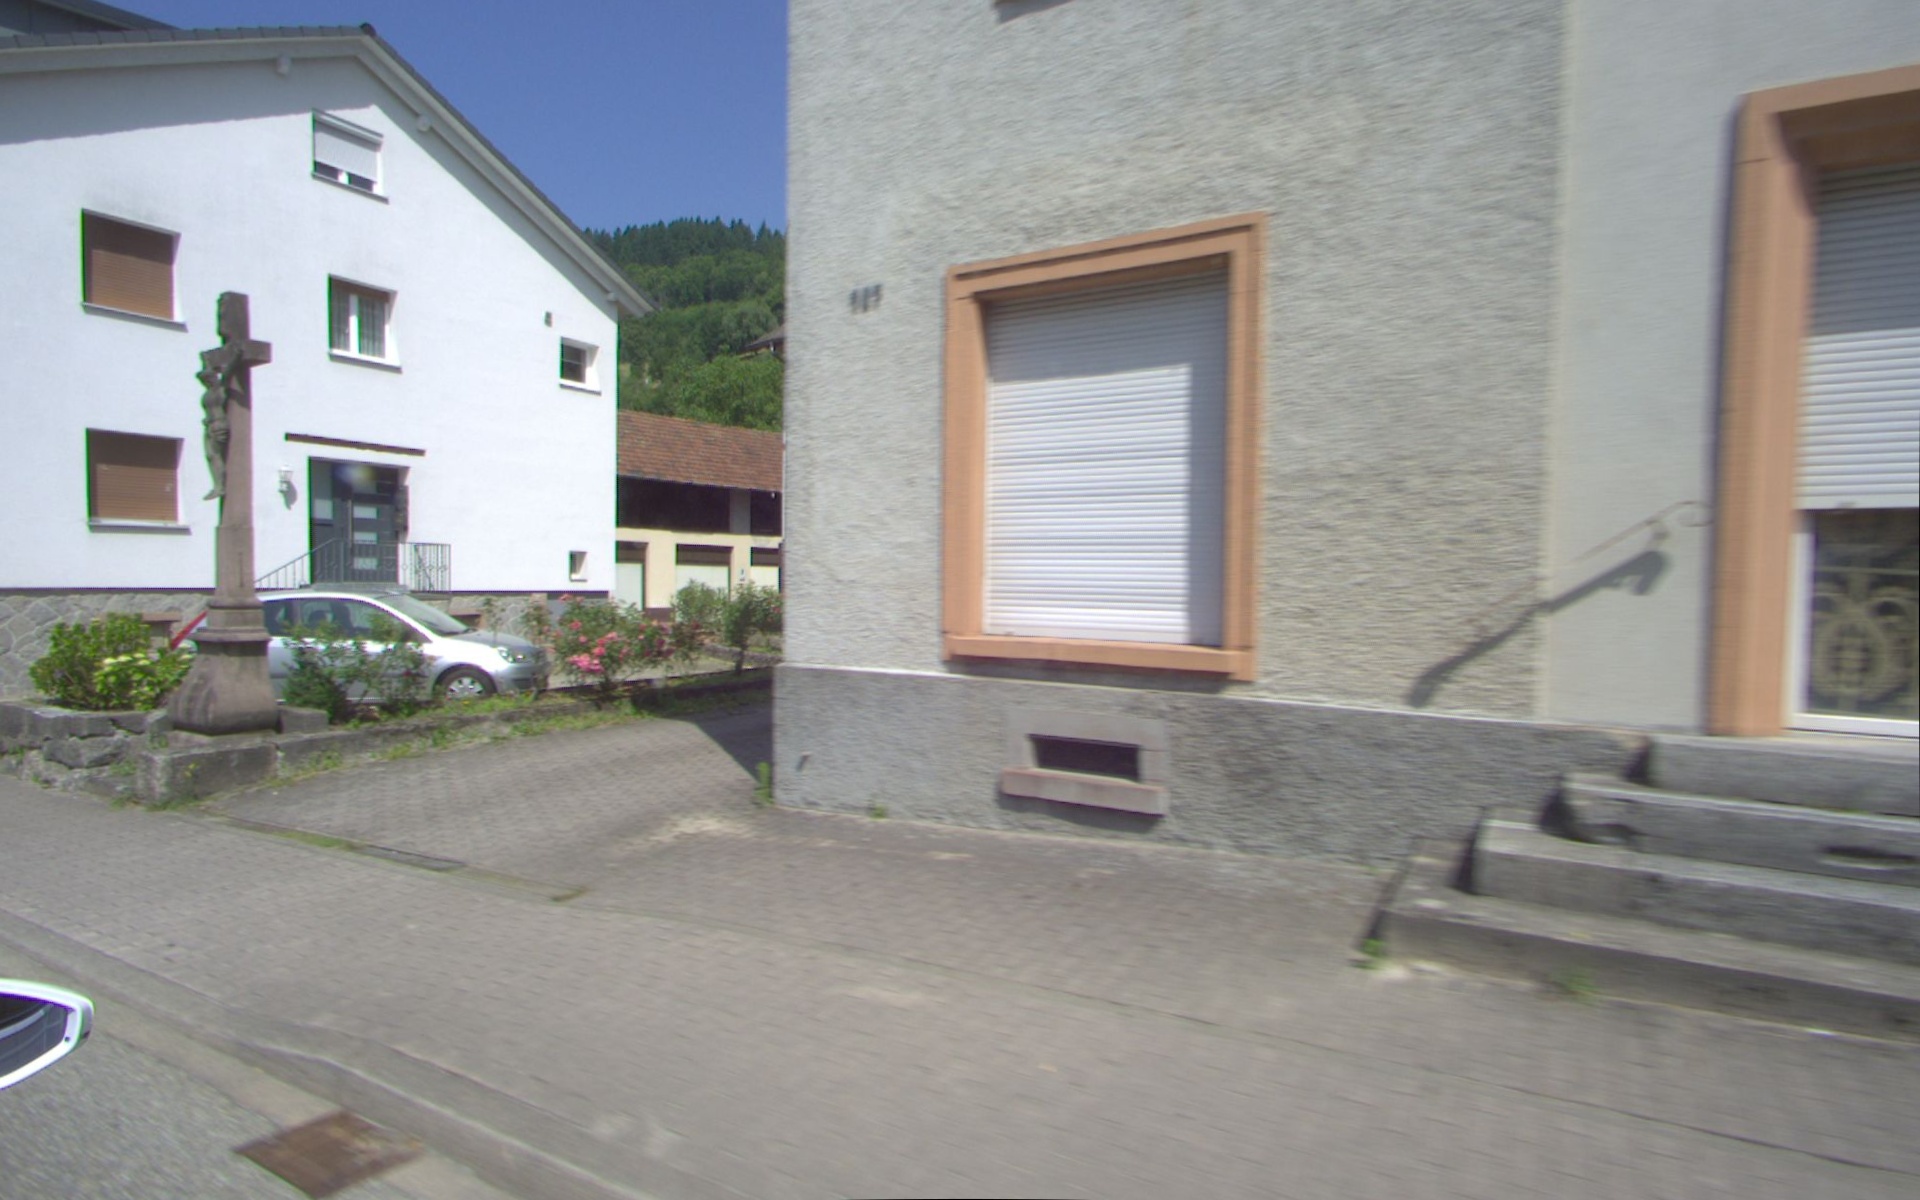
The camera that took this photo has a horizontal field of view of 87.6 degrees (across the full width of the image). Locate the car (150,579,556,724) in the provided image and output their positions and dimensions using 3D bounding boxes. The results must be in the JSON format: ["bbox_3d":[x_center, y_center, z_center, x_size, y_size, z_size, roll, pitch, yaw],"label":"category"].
[{"bbox_3d":[-6.865,0.527,11.750,3.707,1.448,1.606,0,5,-14],"label":"car"}]
